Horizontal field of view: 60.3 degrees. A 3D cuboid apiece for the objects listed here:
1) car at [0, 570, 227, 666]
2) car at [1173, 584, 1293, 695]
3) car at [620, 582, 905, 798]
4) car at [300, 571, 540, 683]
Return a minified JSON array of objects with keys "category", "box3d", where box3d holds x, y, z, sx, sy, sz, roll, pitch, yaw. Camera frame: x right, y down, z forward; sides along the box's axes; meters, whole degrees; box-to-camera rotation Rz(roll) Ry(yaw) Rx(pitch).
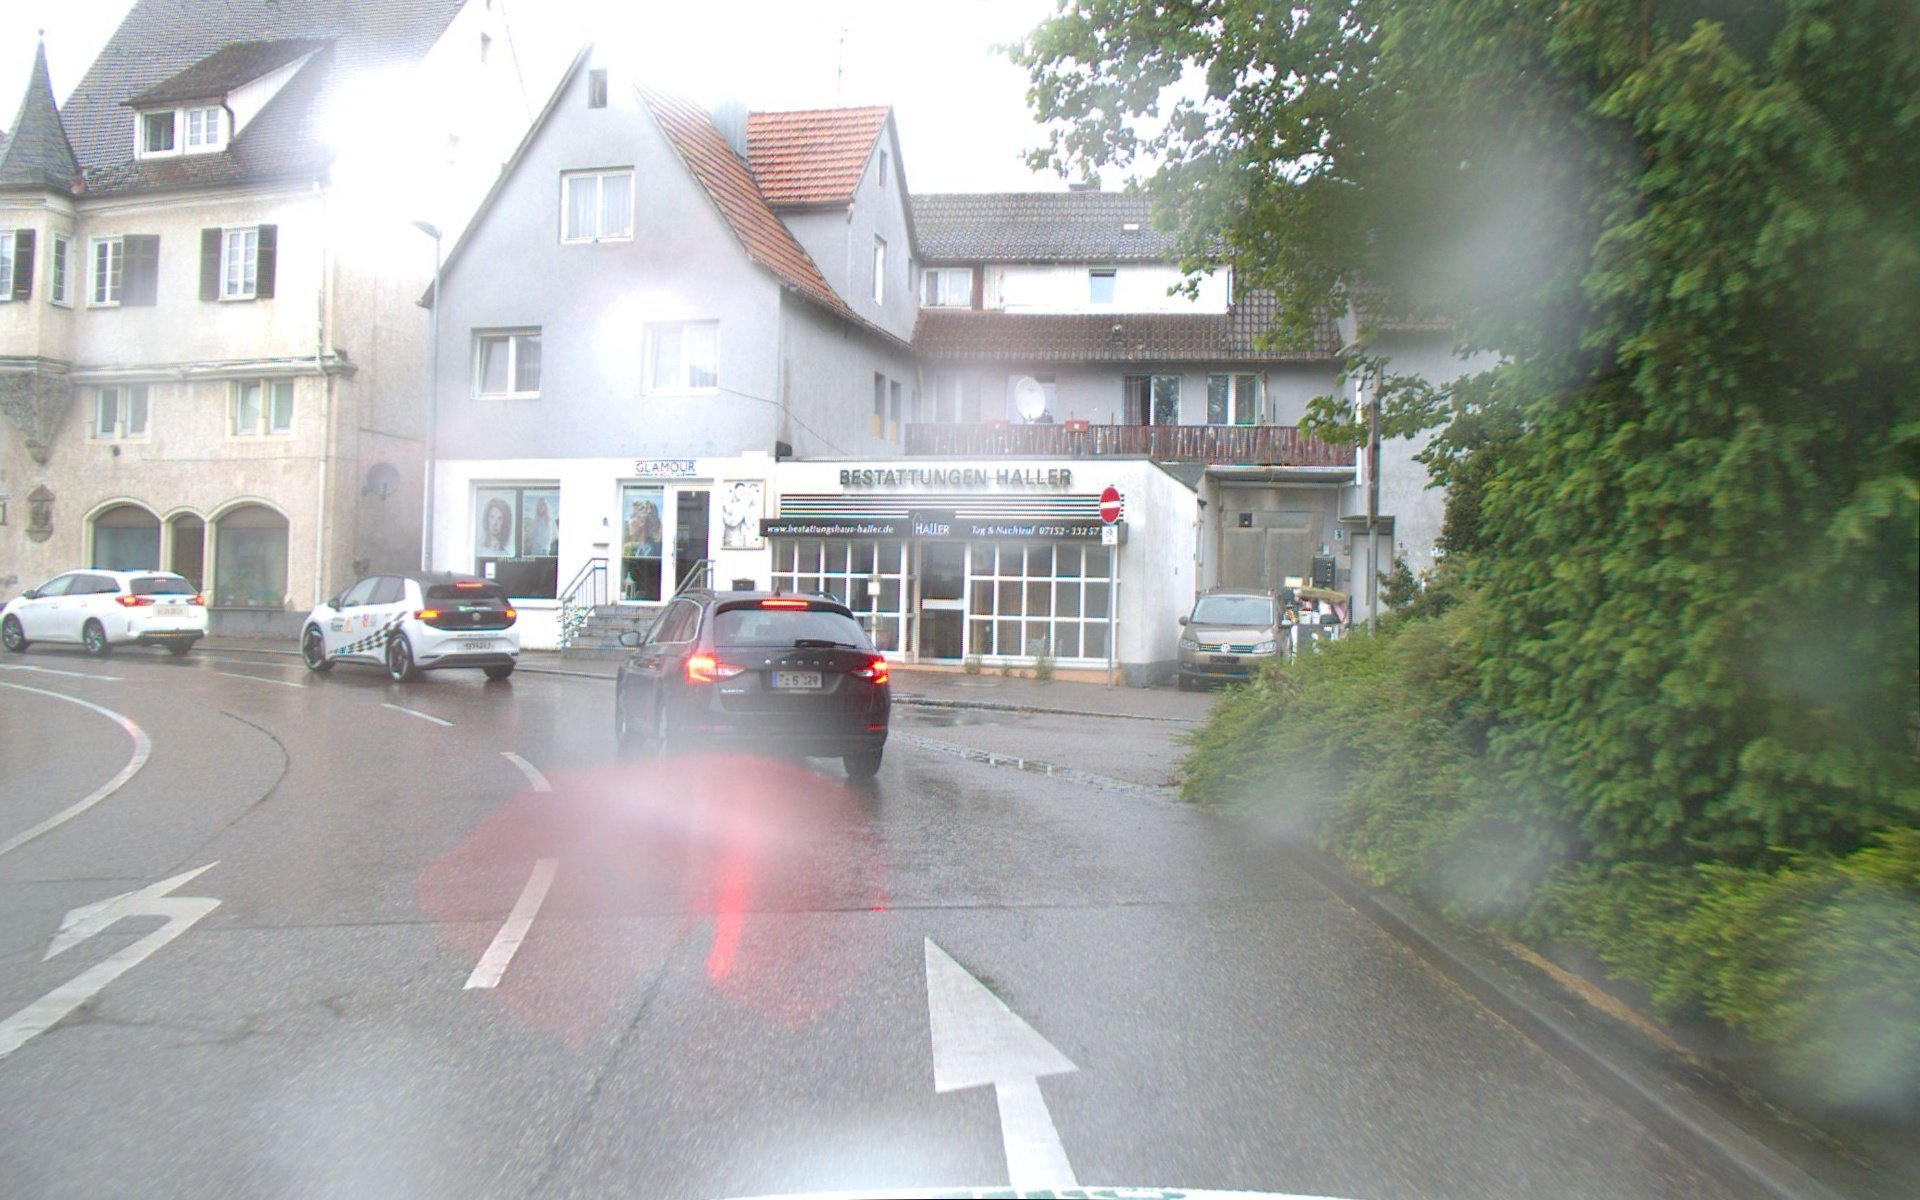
[{"category":"car","box3d":[-15.180,0.273,29.601,4.075,1.491,1.787,2,2,31]},{"category":"car","box3d":[5.028,0.630,30.036,1.882,1.758,4.673,1,1,12]},{"category":"car","box3d":[-1.841,0.639,14.154,1.704,1.475,4.222,1,1,-17]},{"category":"car","box3d":[-8.231,0.339,25.018,1.782,1.543,4.171,-1,1,-45]}]
